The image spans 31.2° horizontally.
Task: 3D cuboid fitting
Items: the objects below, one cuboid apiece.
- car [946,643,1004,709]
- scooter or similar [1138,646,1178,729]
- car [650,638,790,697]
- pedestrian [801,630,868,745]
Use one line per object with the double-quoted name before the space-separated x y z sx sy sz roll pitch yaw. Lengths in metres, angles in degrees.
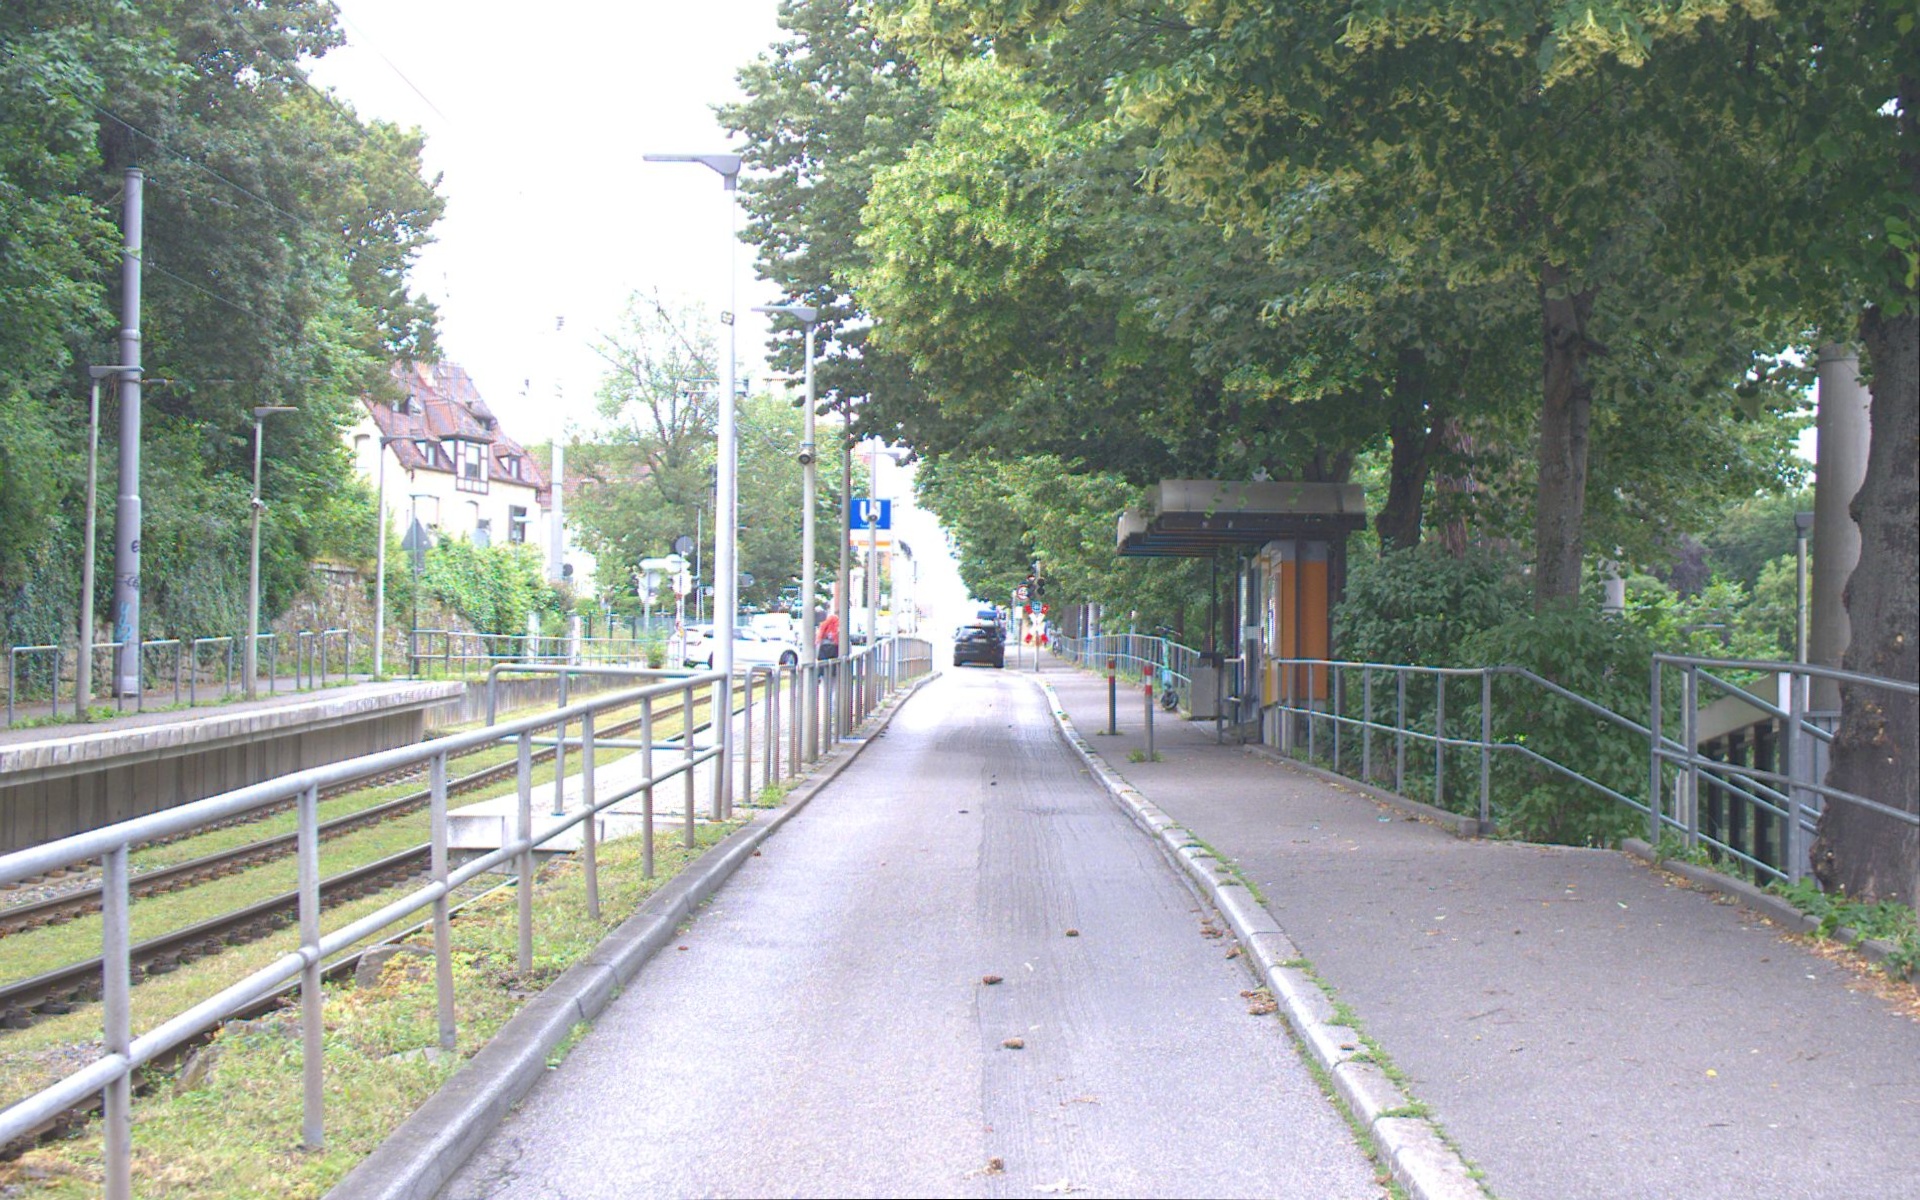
"car" 0.536 2.820 126.846 1.993 2.139 3.999 3 -4 0
"scooter or similar" 2.895 1.290 50.225 0.342 1.153 1.147 4 -4 -6
"car" -7.969 2.259 114.340 4.107 1.653 2.000 6 -5 -34
"pedestrian" -1.589 1.104 43.759 0.742 1.405 0.747 3 0 0
